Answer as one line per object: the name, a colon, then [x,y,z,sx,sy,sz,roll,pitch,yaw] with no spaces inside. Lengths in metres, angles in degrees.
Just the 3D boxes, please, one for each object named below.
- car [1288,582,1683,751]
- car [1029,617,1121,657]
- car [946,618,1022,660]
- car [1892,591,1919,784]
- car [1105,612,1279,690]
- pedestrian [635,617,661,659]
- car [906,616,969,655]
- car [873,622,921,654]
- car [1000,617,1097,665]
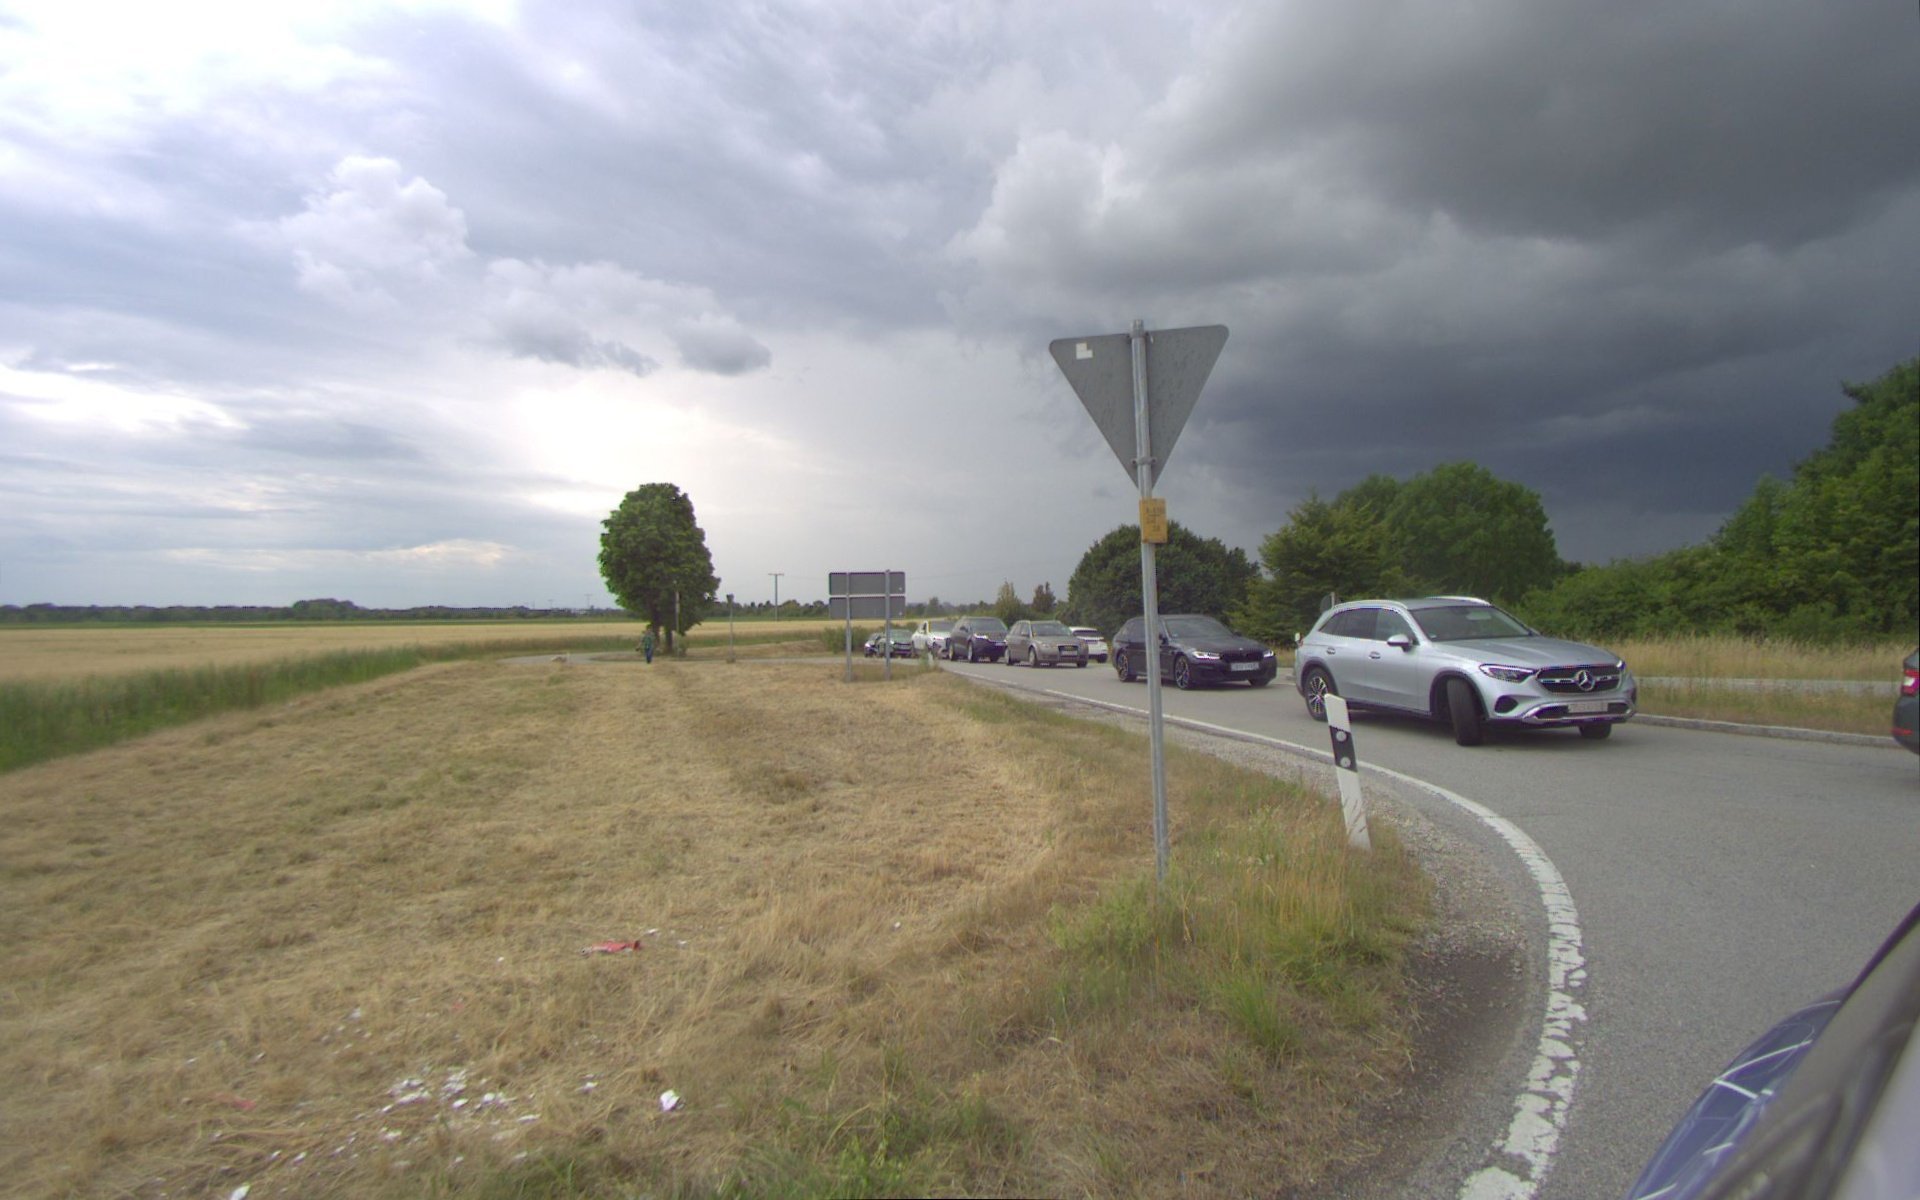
car: [6.096,0.694,12.489,1.956,1.606,4.401,-3,0,-10]
car: [4.524,1.425,40.466,1.735,1.470,4.400,0,-1,-22]
car: [0.823,1.392,37.235,1.686,1.370,4.221,-3,0,-14]
car: [8.838,0.606,6.281,1.683,1.466,4.123,-1,-1,-25]
car: [4.695,0.984,21.301,1.687,1.370,4.703,-3,0,-12]
pedestrian: [-12.319,1.492,39.981,0.758,1.632,0.945,0,-2,-32]
car: [-1.035,1.486,43.950,1.686,1.513,4.646,-3,0,-14]
car: [-3.302,1.918,52.114,1.686,1.513,4.221,-3,0,-14]
car: [2.665,1.215,31.411,1.686,1.370,4.221,0,-1,-14]
